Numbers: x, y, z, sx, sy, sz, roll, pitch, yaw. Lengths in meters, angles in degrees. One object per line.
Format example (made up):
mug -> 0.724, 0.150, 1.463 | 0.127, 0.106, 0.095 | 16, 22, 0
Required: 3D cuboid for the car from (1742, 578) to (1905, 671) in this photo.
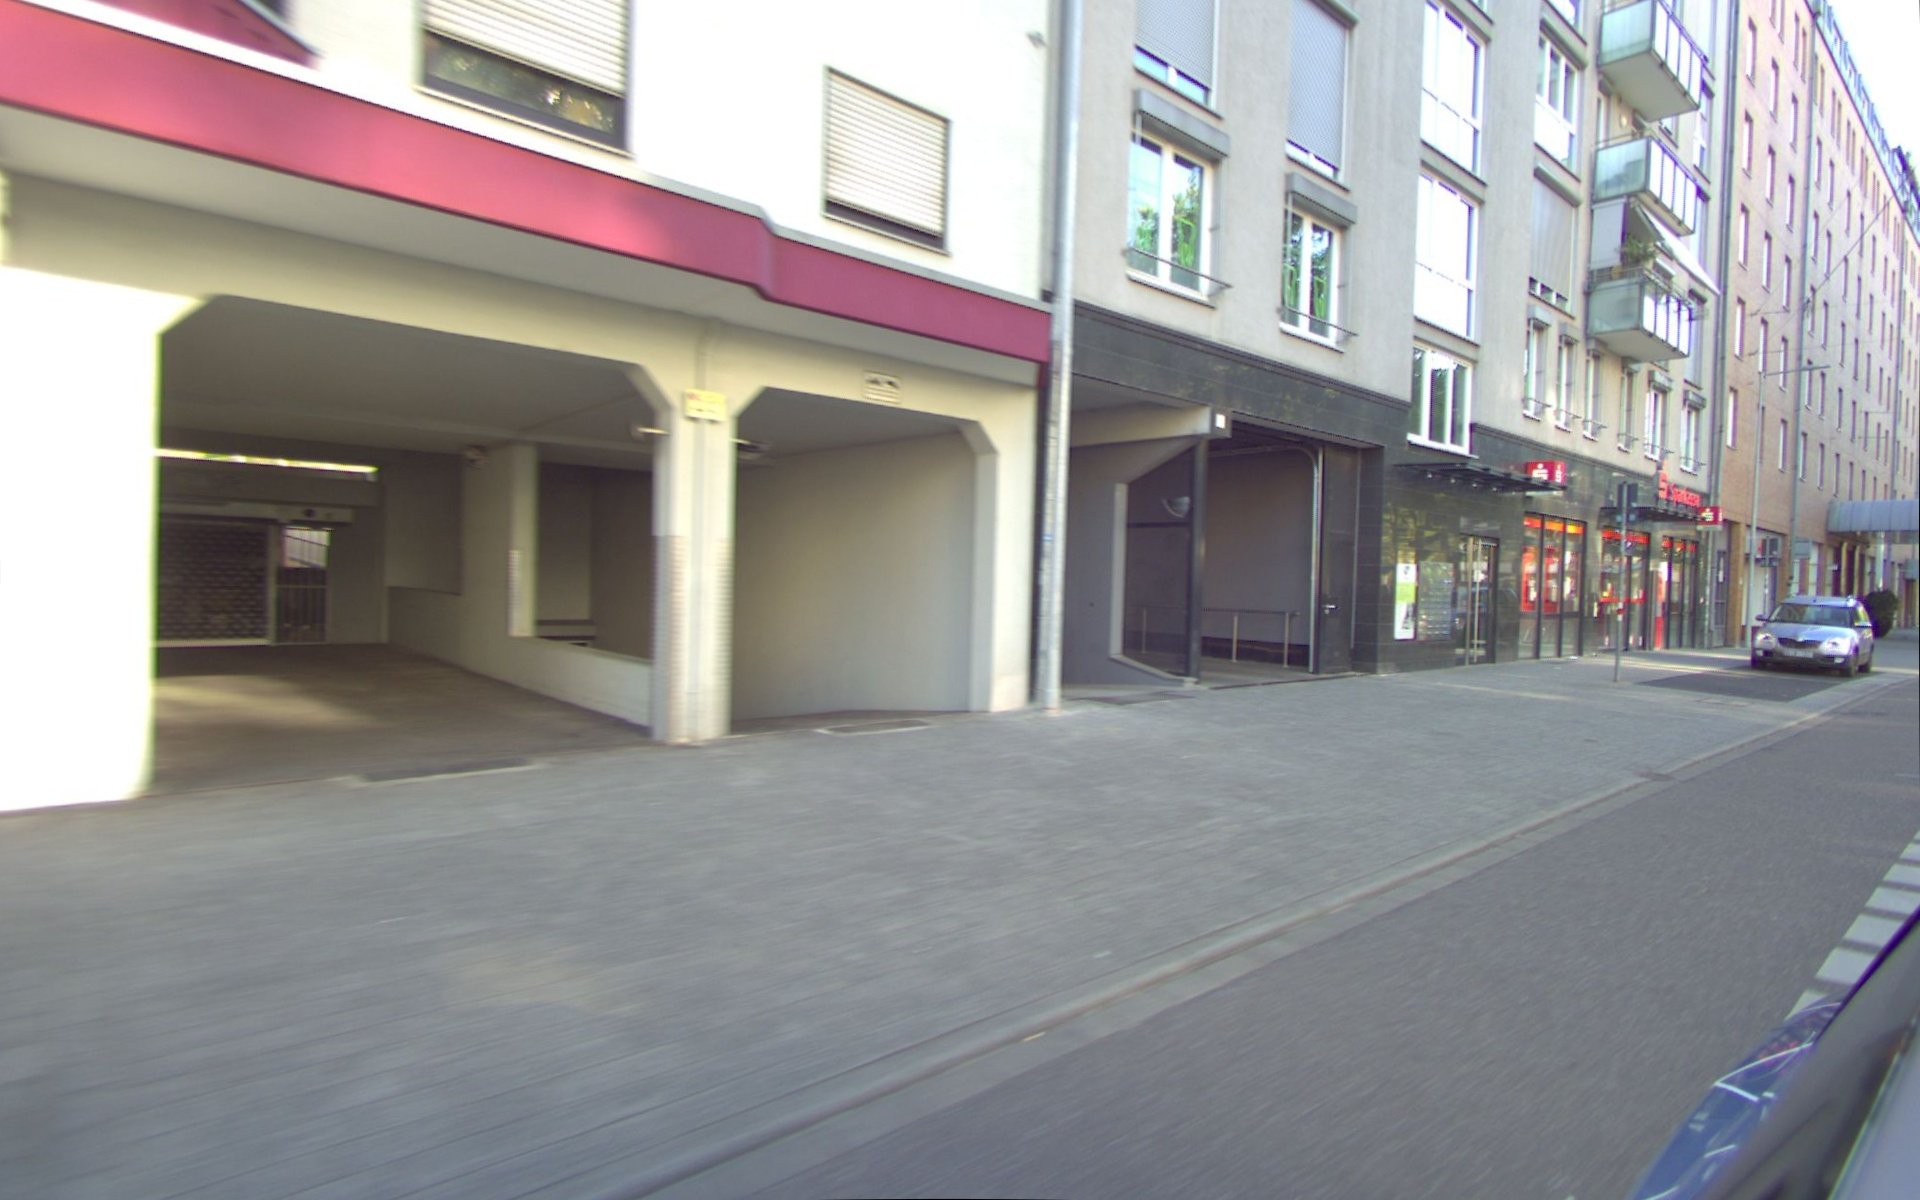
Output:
car -> 18.166, 0.448, 21.232 | 4.208, 1.642, 1.838 | 0, 5, -40
